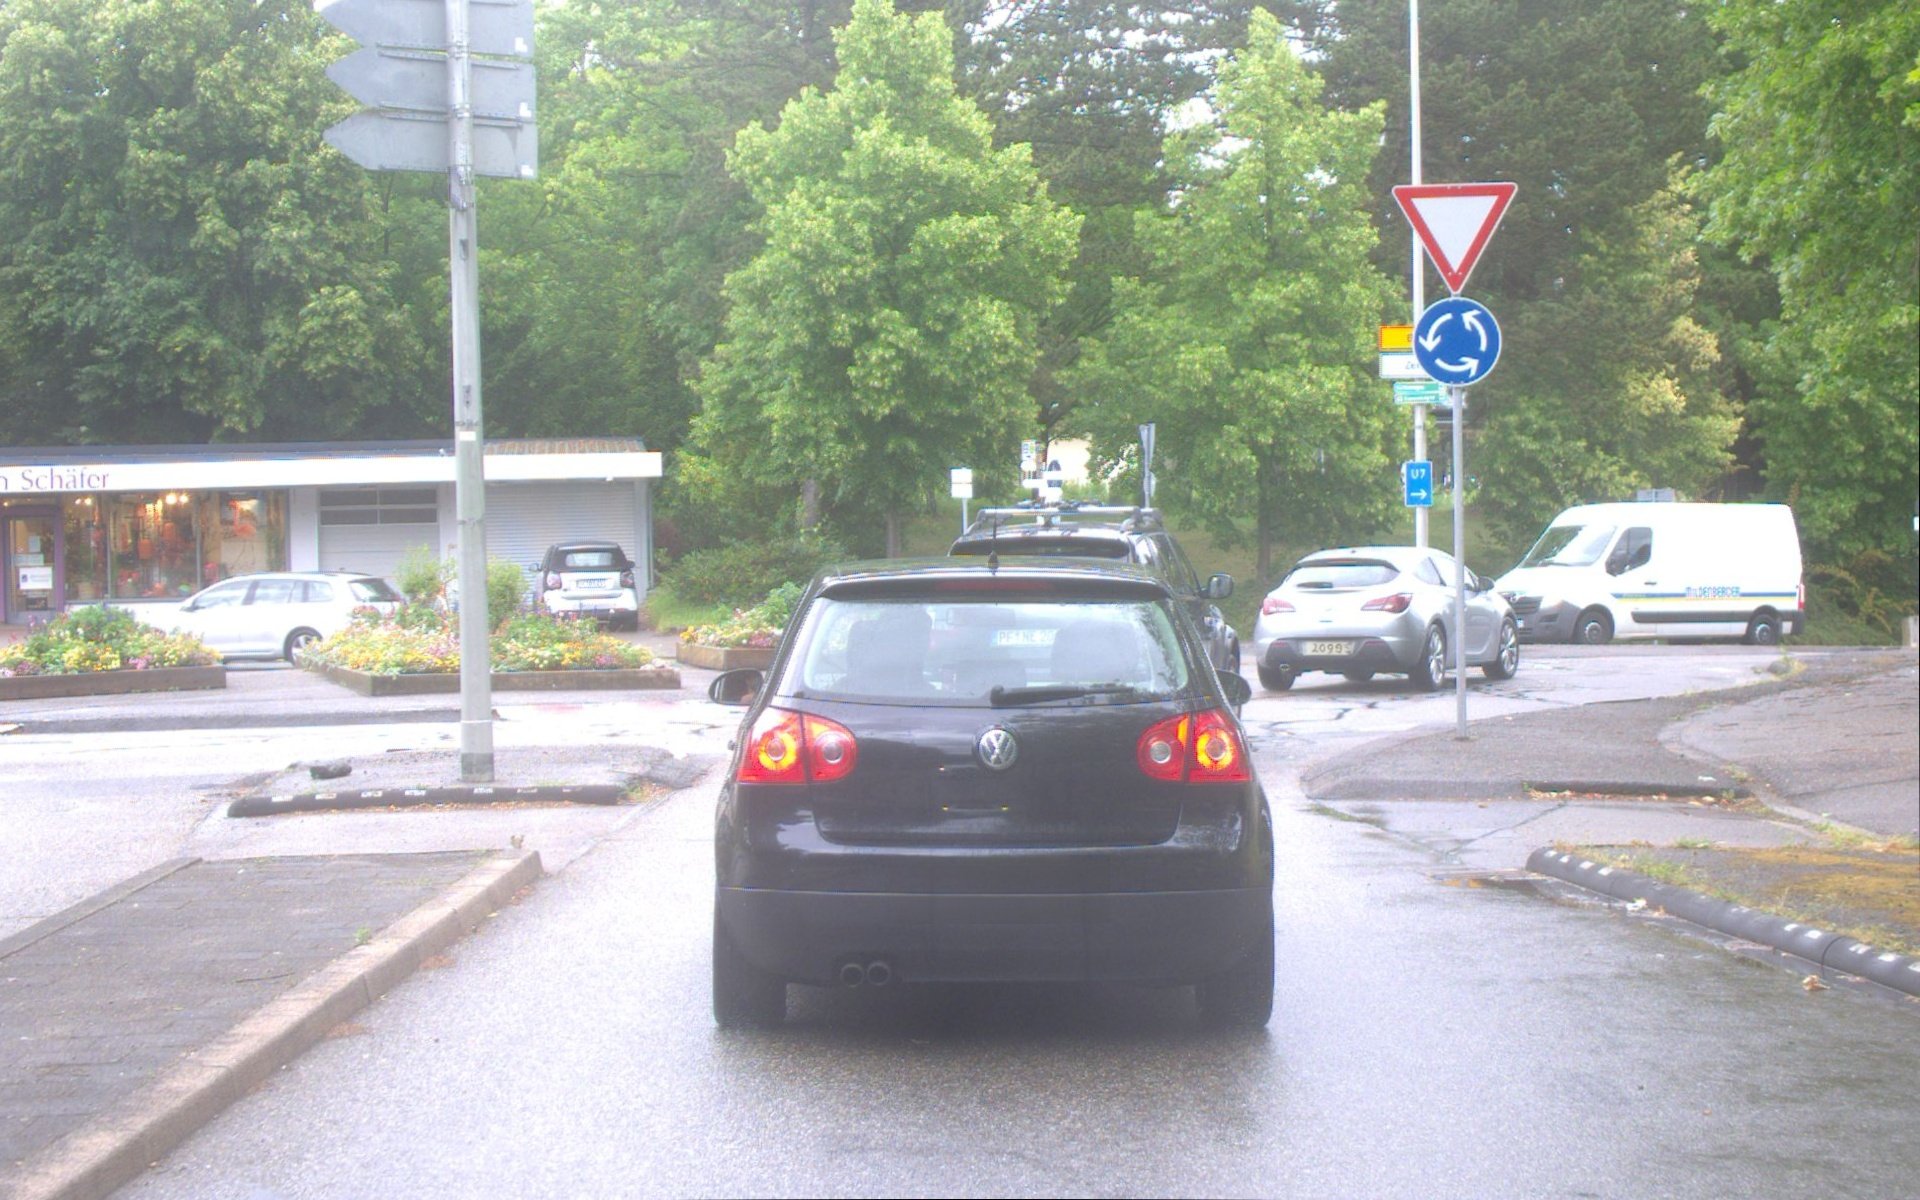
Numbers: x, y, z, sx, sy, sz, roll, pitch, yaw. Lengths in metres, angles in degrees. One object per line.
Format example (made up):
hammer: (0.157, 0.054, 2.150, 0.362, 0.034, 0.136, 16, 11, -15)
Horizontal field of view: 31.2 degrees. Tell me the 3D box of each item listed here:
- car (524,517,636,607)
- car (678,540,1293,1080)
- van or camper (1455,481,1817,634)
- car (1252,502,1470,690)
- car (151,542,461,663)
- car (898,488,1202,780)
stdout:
car: (-6.776, -0.693, 61.106, 1.812, 1.481, 3.832, -2, 1, -8)
car: (0.223, 0.586, 11.884, 1.765, 1.533, 3.999, 0, 0, 5)
van or camper: (10.964, -0.667, 55.612, 5.650, 2.370, 2.201, 0, 0, -29)
car: (4.244, -0.070, 35.869, 1.766, 1.795, 4.244, -2, 1, 13)
car: (-9.799, 0.023, 51.515, 4.135, 1.735, 1.998, 1, 0, 22)
car: (0.535, 0.200, 23.957, 1.764, 1.795, 4.247, -2, 1, -2)
